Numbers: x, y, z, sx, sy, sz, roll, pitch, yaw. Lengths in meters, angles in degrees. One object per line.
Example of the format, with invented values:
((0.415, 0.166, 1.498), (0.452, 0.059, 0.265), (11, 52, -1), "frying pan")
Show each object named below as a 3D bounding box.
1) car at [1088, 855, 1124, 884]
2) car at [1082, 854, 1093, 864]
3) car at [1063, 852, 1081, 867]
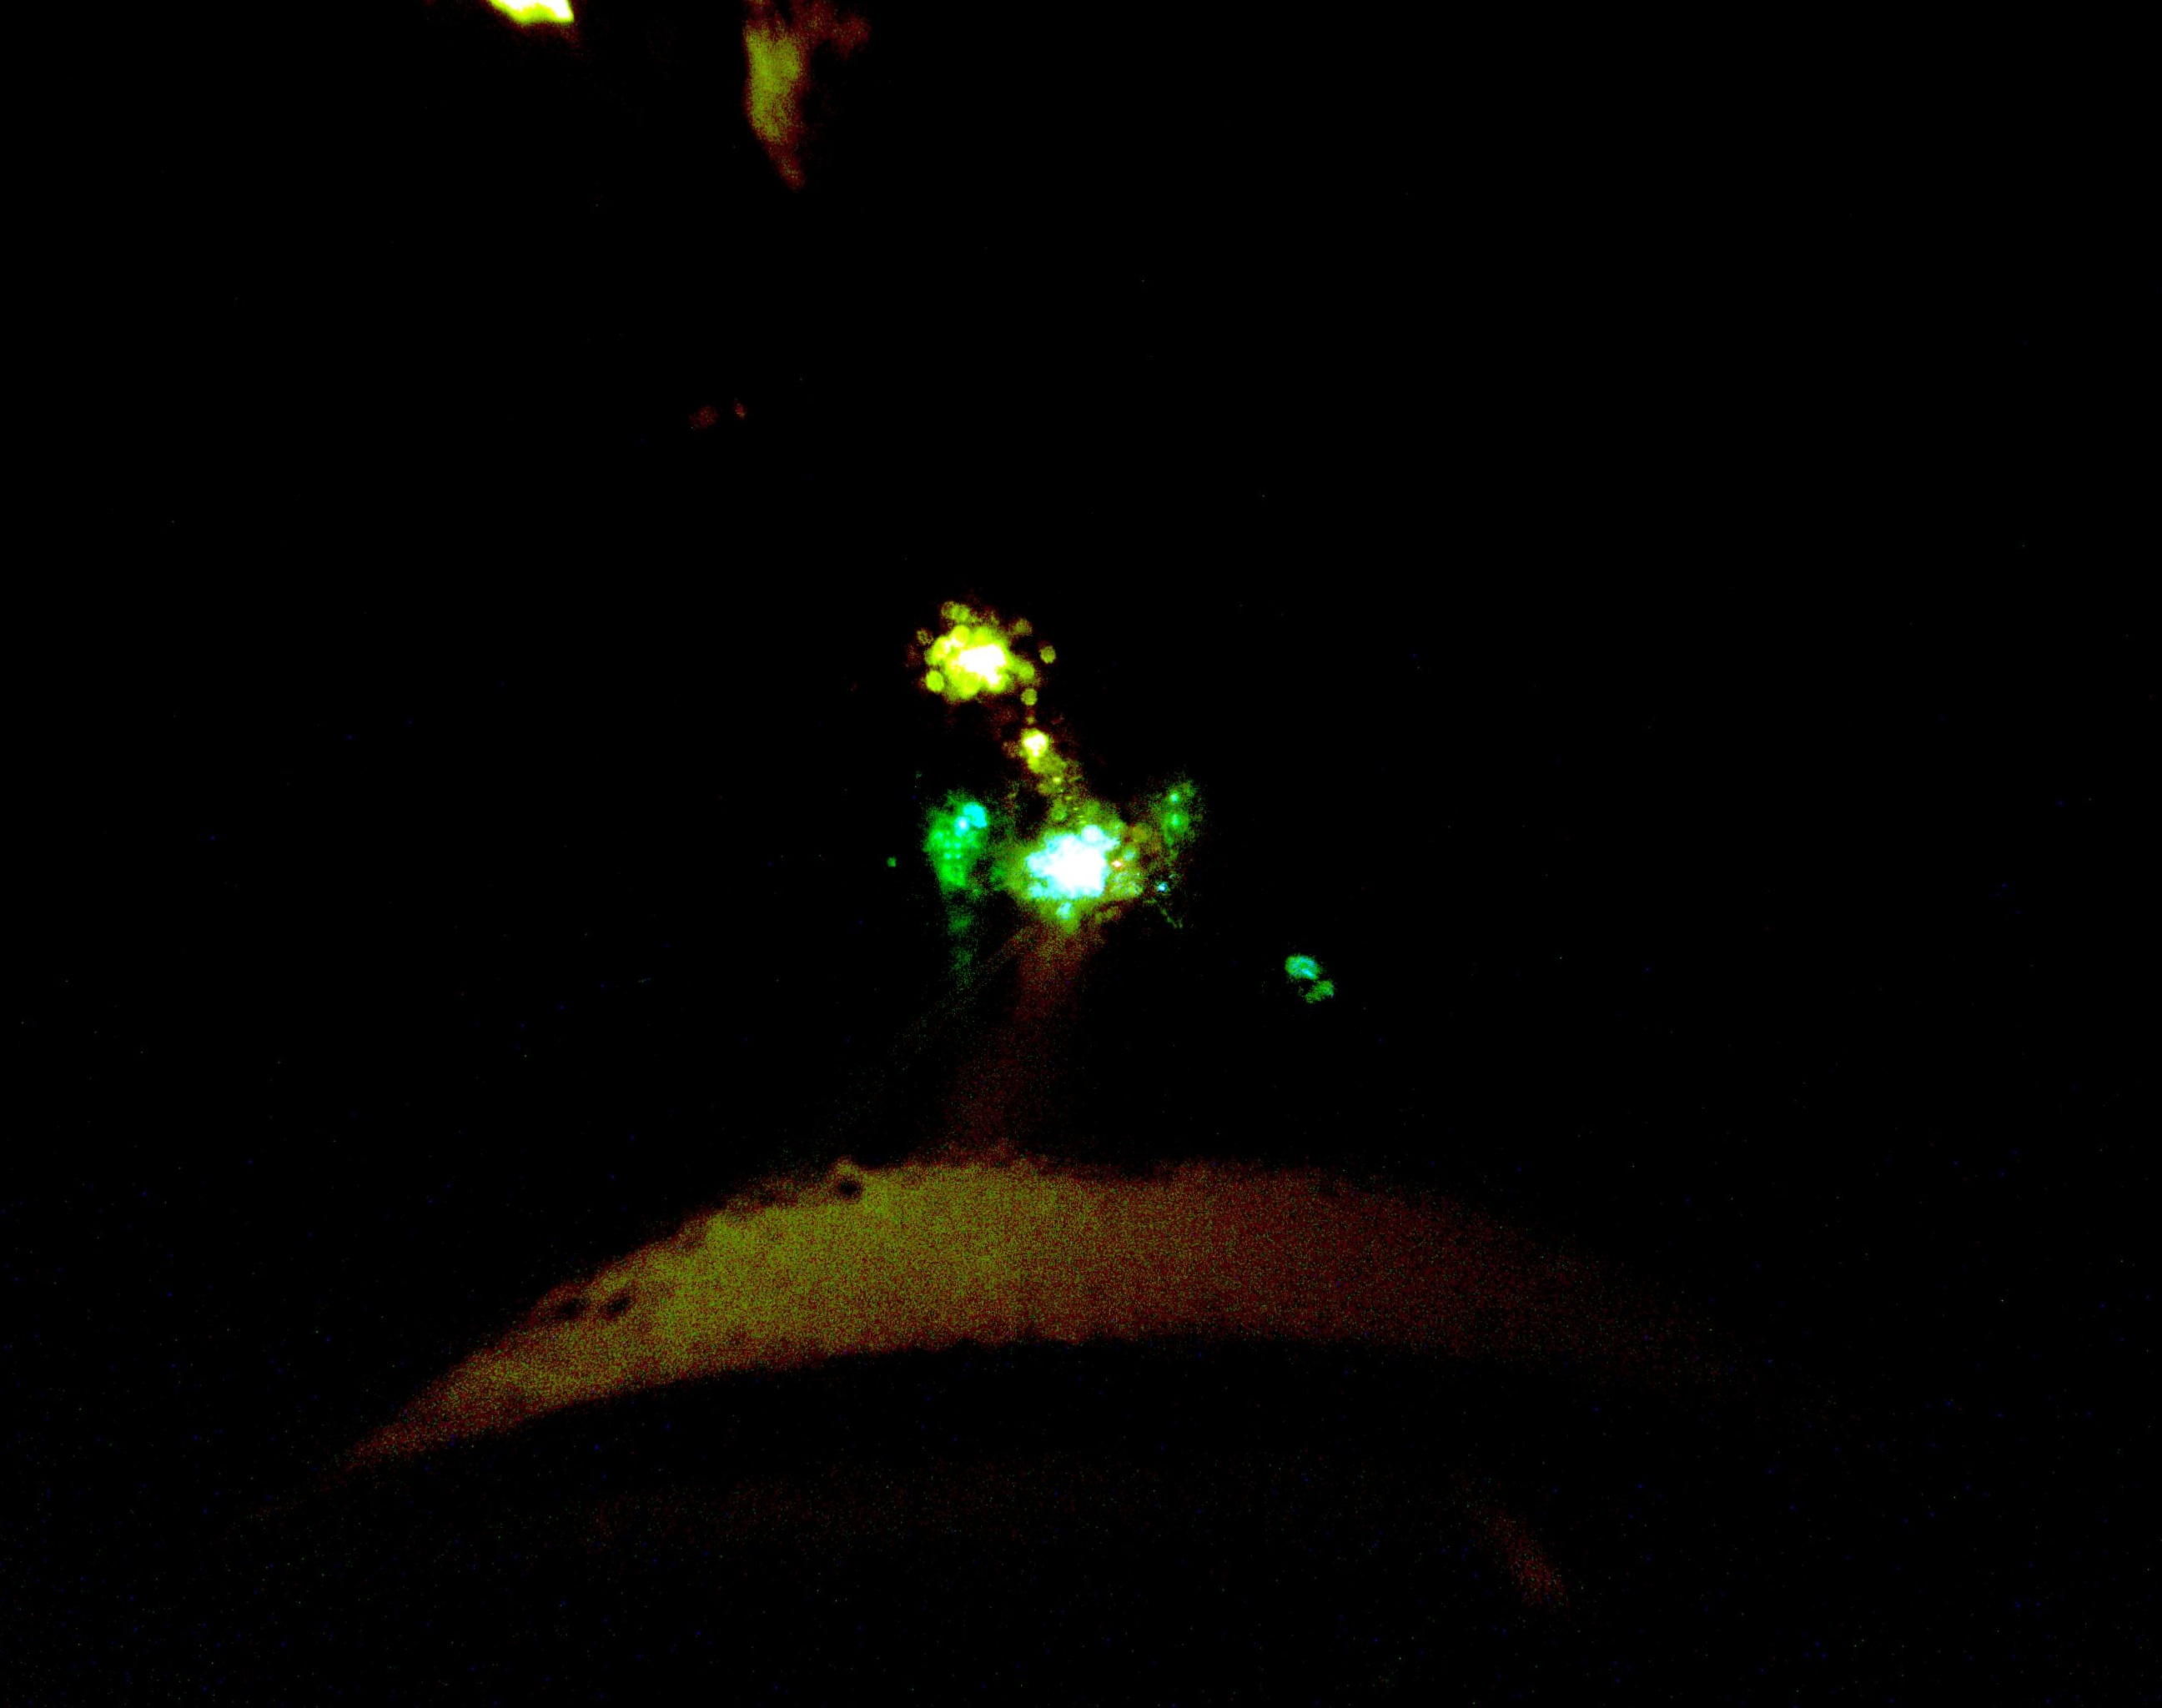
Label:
((1.533, 0.954, 50.586), (2.082, 1.662, 4.001), (-2, 0, 1), "car")
((1.095, 0.803, 131.994), (1.704, 1.462, 3.576), (-3, 0, 2), "car")
((-0.889, 0.551, 83.661), (1.685, 1.505, 3.745), (-2, 0, 1), "car")
